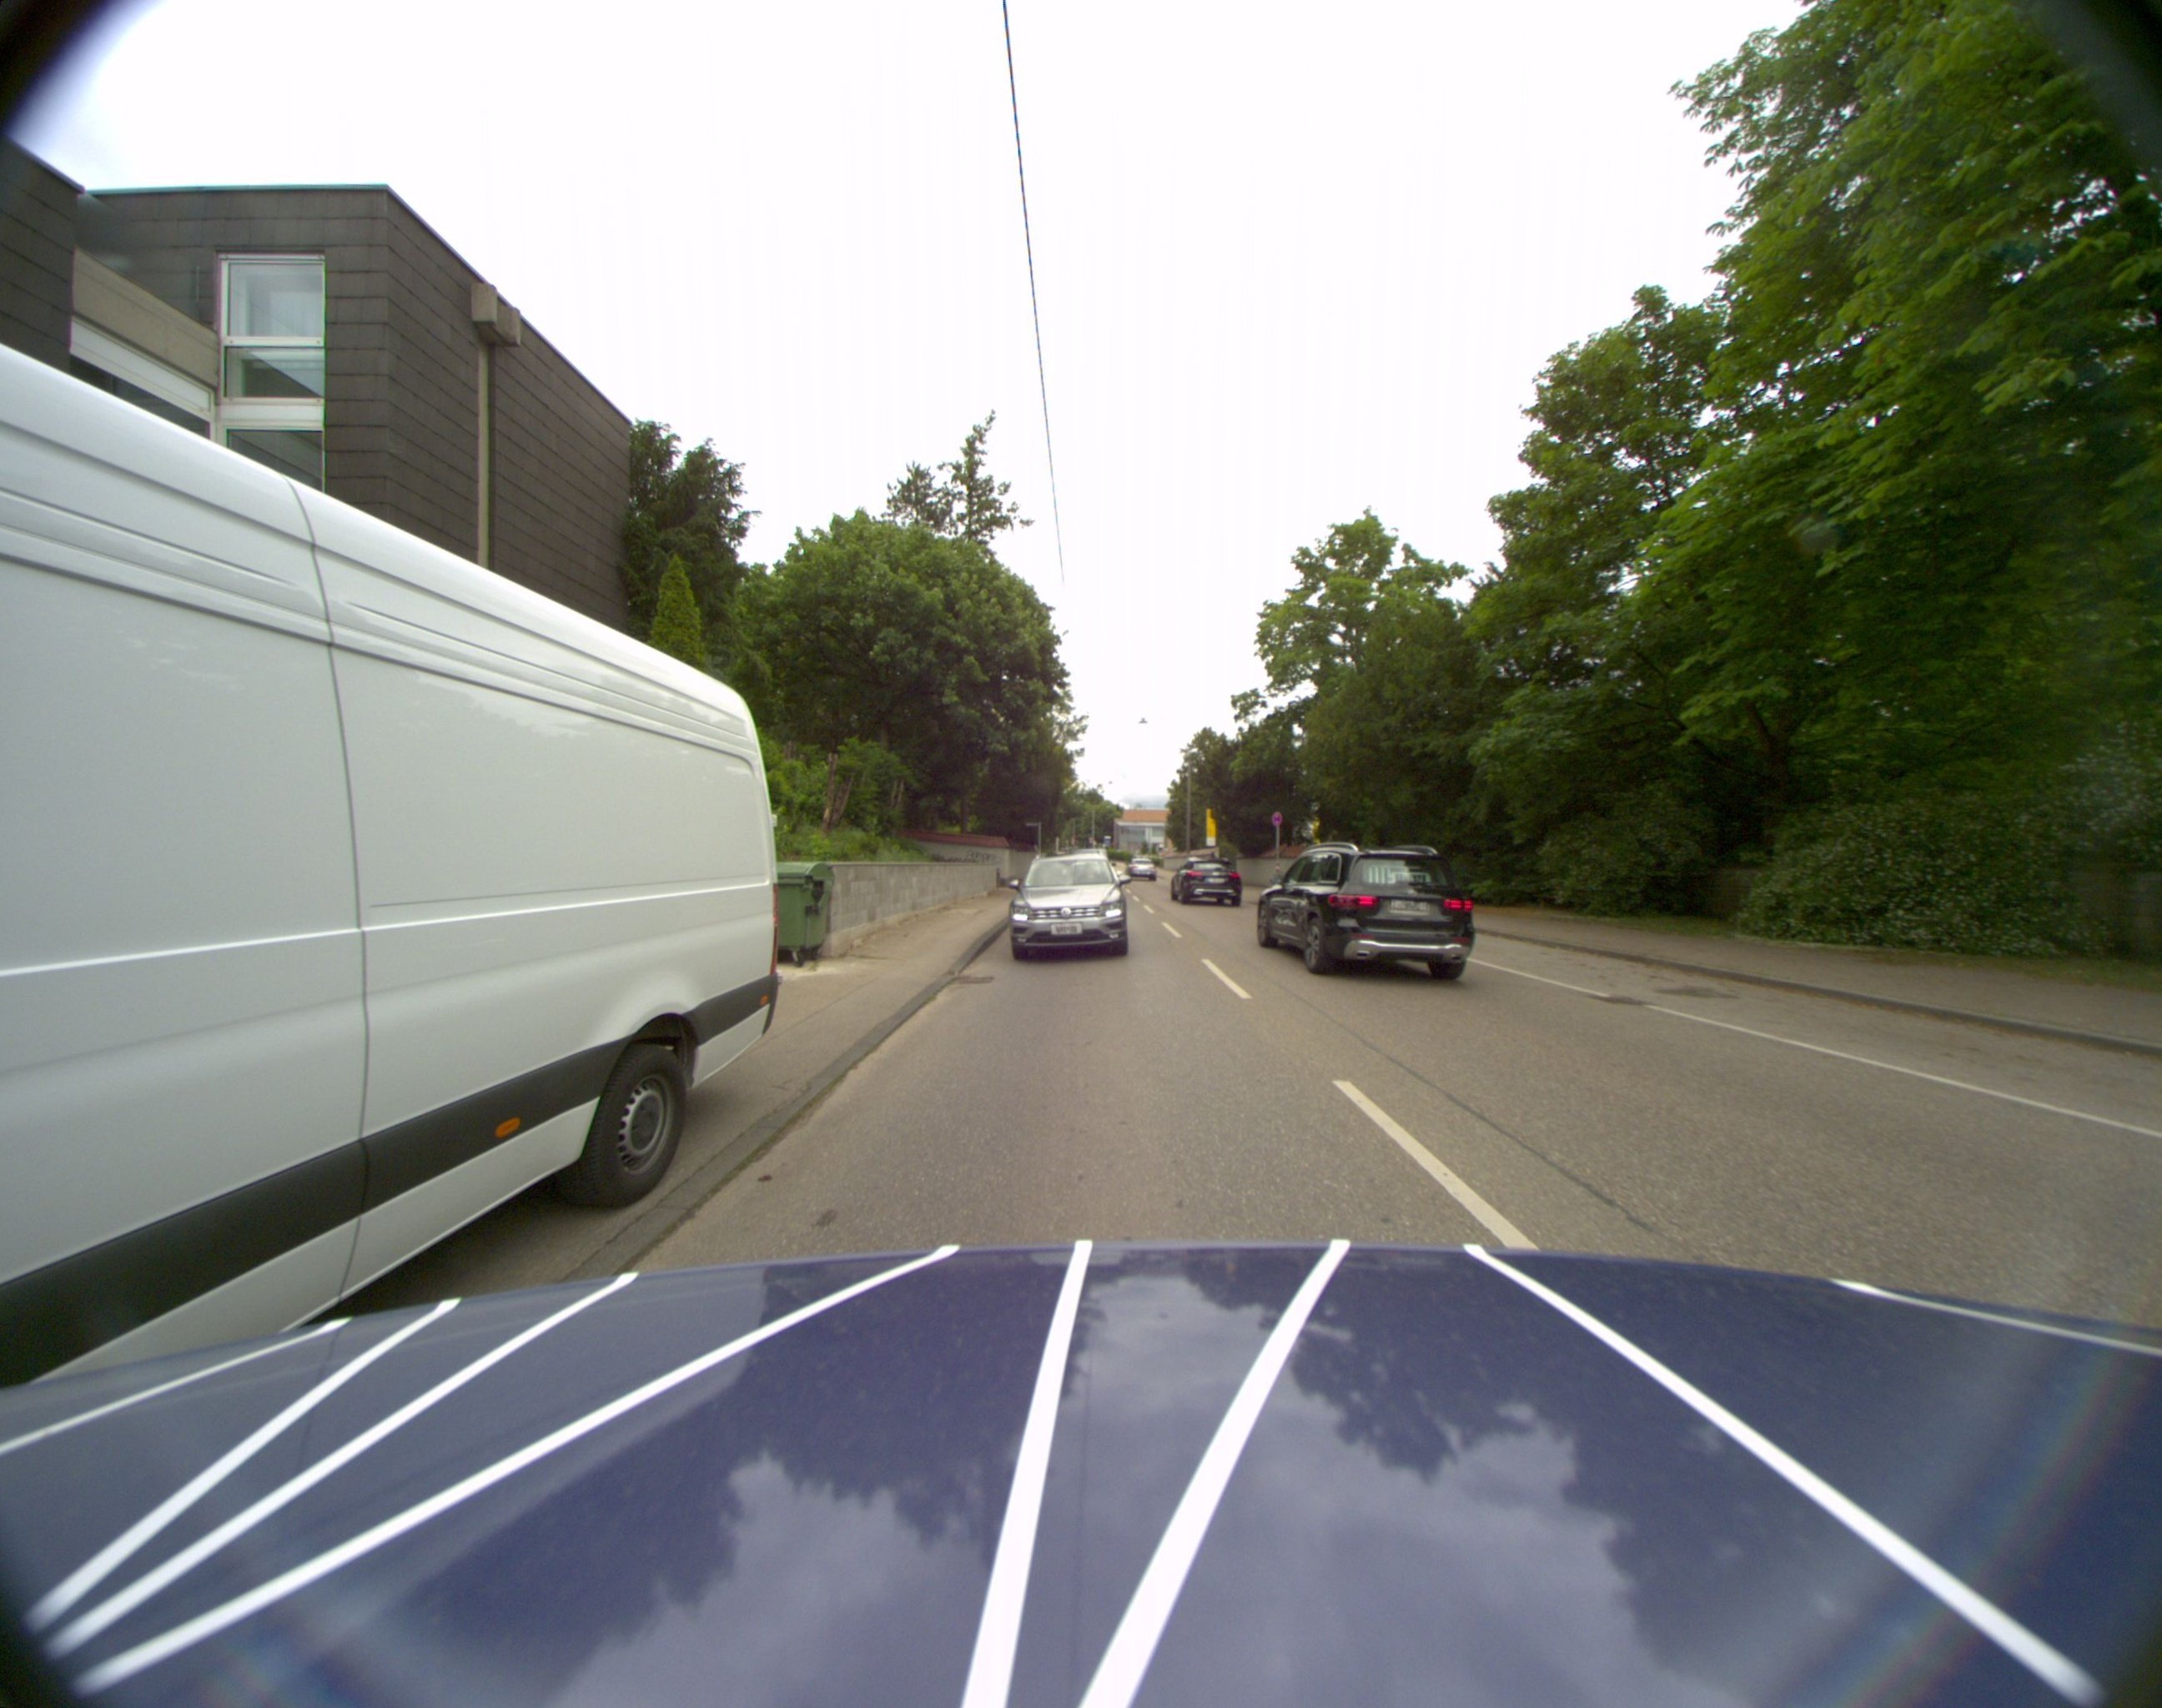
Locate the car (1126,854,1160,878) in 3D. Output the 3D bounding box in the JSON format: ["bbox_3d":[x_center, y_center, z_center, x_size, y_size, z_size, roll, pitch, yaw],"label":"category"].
[{"bbox_3d":[3.975,0.764,49.292,1.761,1.395,4.413,2,1,-1],"label":"car"}]

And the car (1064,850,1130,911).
[{"bbox_3d":[0.466,0.737,23.407,1.820,1.647,4.487,-1,1,0],"label":"car"}]

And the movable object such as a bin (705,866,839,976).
[{"bbox_3d":[-4.325,0.907,10.768,1.407,1.443,1.116,0,1,1],"label":"movable object such as a bin"}]

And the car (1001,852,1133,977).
[{"bbox_3d":[-0.179,0.853,13.179,1.820,1.690,4.718,-2,1,0],"label":"car"}]

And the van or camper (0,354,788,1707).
[{"bbox_3d":[-2.920,0.395,1.468,1.996,2.610,6.544,2,1,1],"label":"van or camper"}]

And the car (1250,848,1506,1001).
[{"bbox_3d":[3.753,0.773,10.499,1.885,1.635,4.127,2,1,0],"label":"car"}]

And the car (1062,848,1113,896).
[{"bbox_3d":[0.244,0.641,29.787,1.820,1.733,4.487,-1,1,0],"label":"car"}]

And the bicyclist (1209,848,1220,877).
[{"bbox_3d":[7.792,0.480,44.403,0.489,1.674,0.588,-3,1,1],"label":"bicyclist"}]

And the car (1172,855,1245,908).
[{"bbox_3d":[4.012,0.822,24.540,1.705,1.475,4.000,2,1,1],"label":"car"}]
